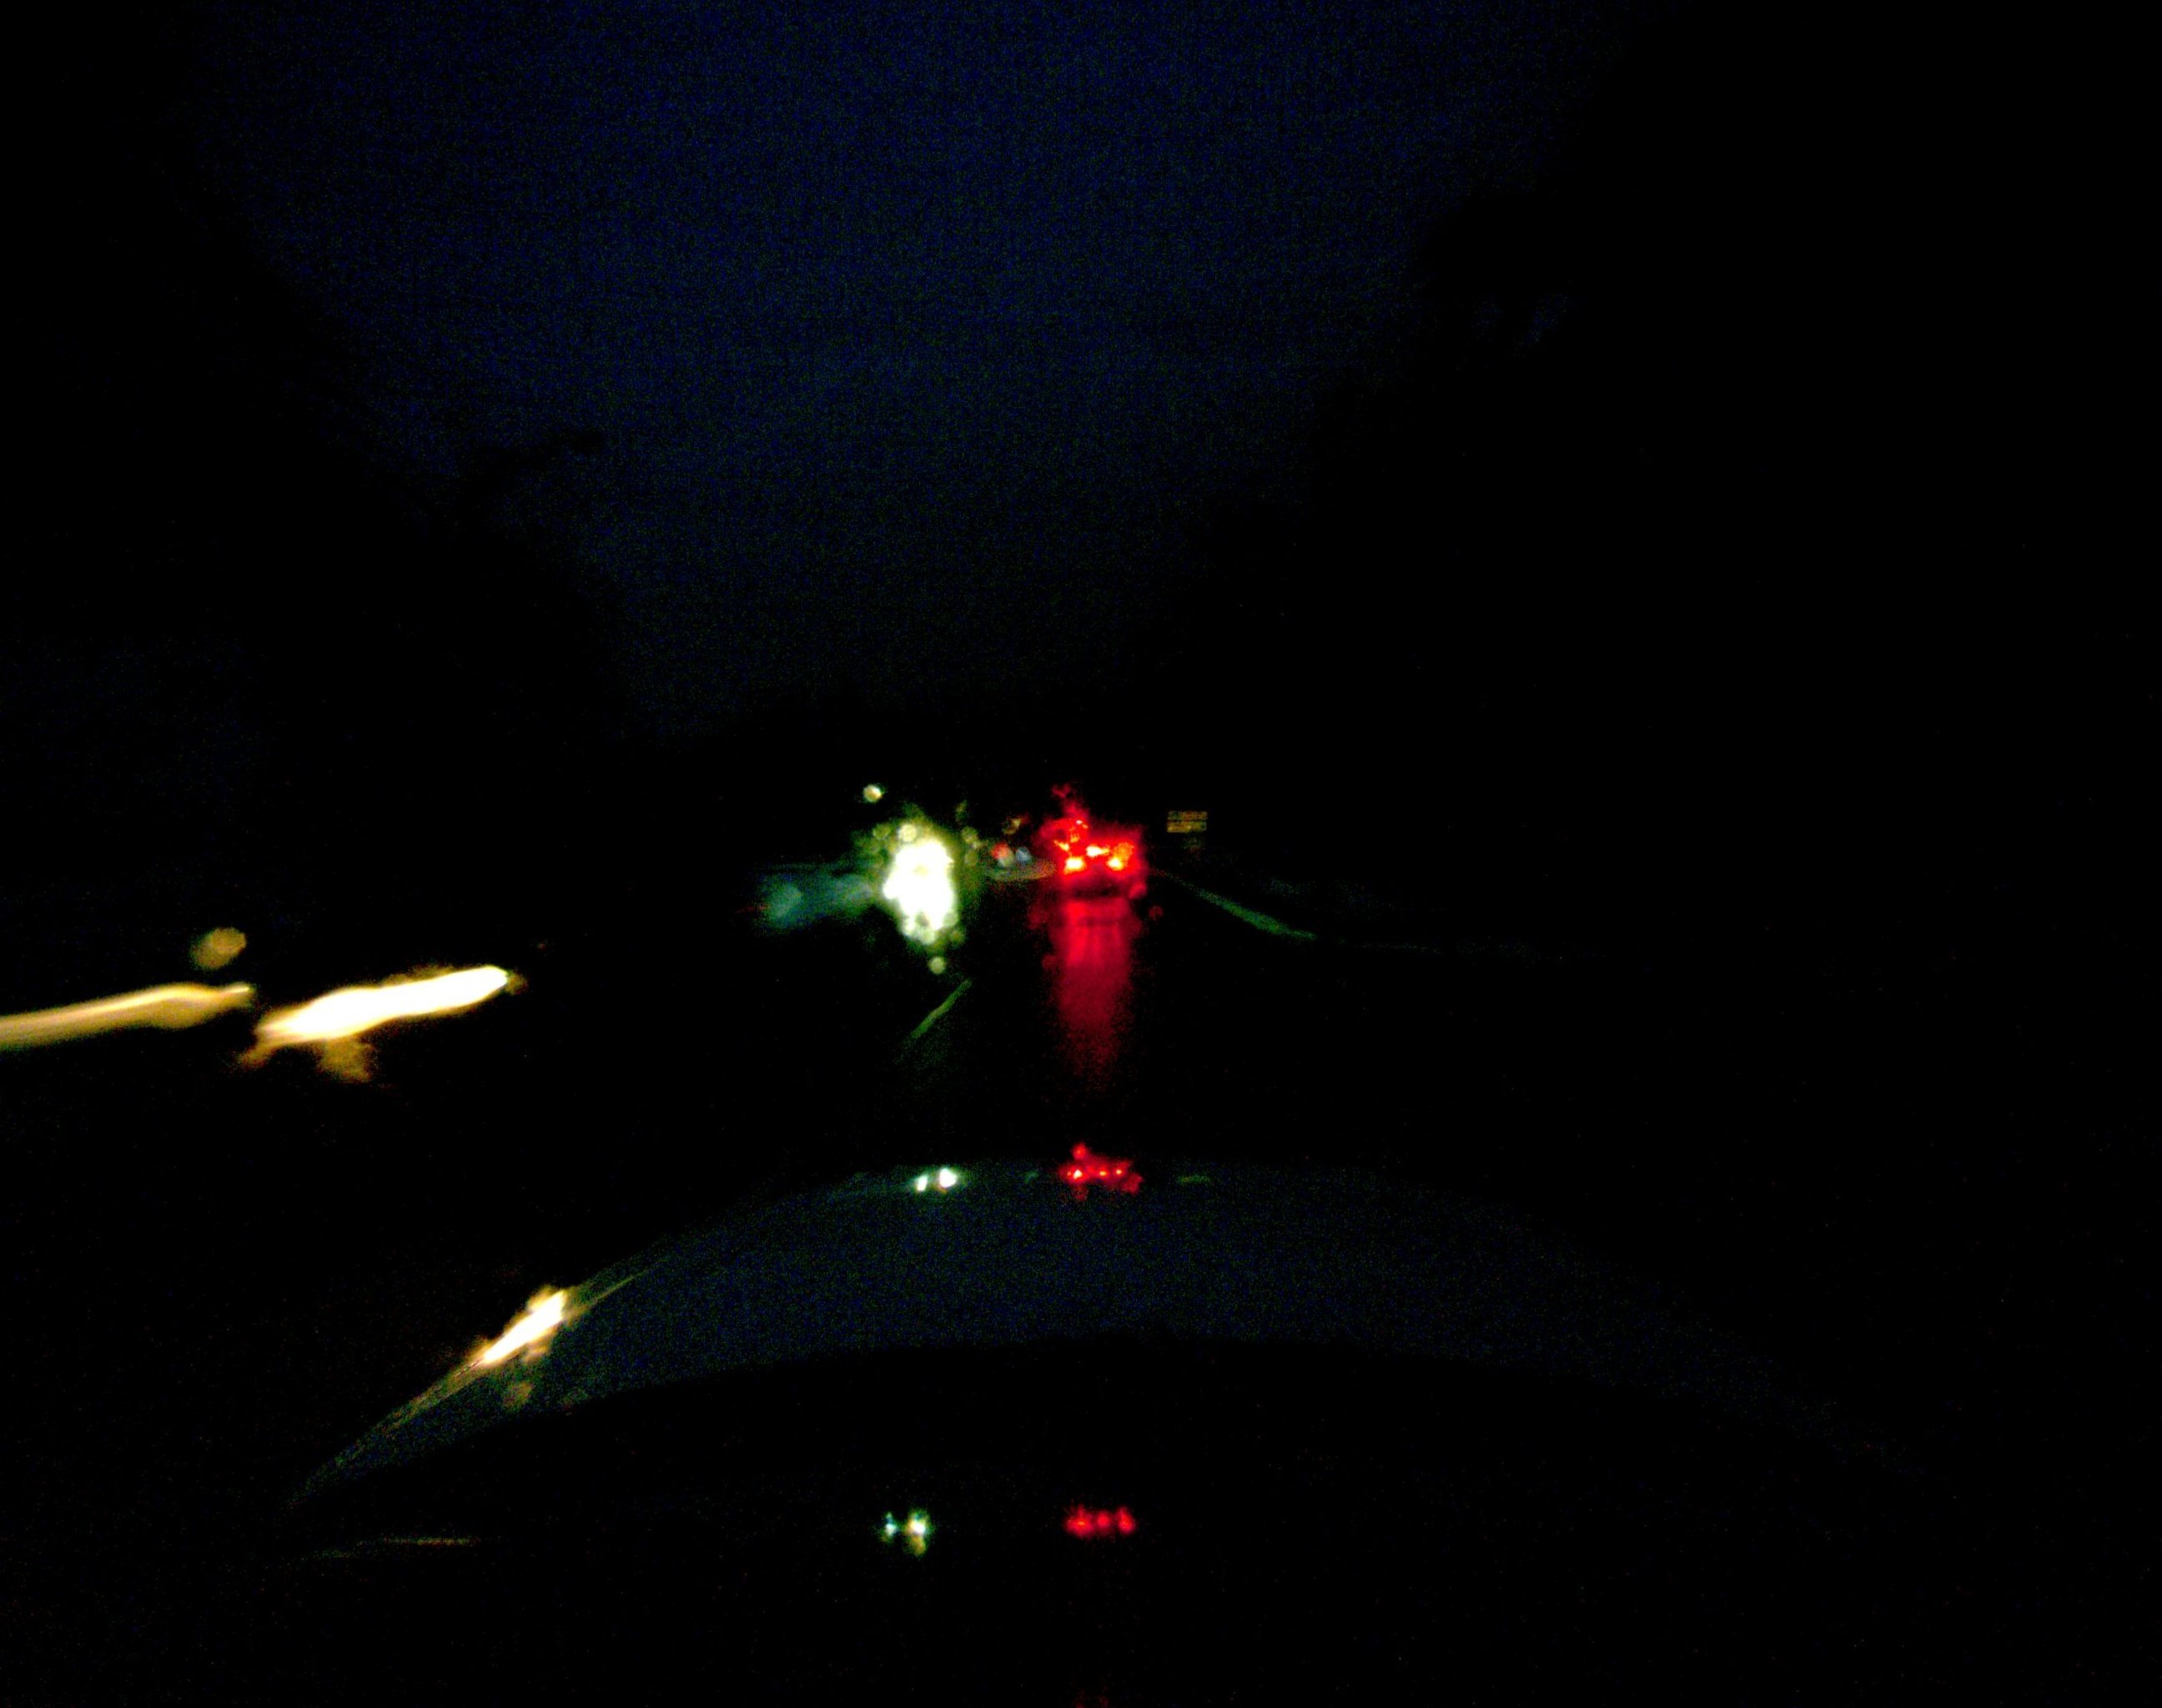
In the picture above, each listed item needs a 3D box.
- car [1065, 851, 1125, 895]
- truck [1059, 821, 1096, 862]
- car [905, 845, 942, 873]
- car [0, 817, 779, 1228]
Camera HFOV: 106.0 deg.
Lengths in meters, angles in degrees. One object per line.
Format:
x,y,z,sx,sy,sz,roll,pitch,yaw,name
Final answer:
0.399,0.590,27.982,1.916,1.276,3.999,0,2,-1,car
-0.289,-0.859,56.379,2.072,2.745,5.309,0,1,-5,truck
-9.239,0.260,47.991,1.739,1.486,3.996,-3,1,-6,car
-3.825,0.689,5.674,1.746,1.693,4.425,-2,1,0,car
